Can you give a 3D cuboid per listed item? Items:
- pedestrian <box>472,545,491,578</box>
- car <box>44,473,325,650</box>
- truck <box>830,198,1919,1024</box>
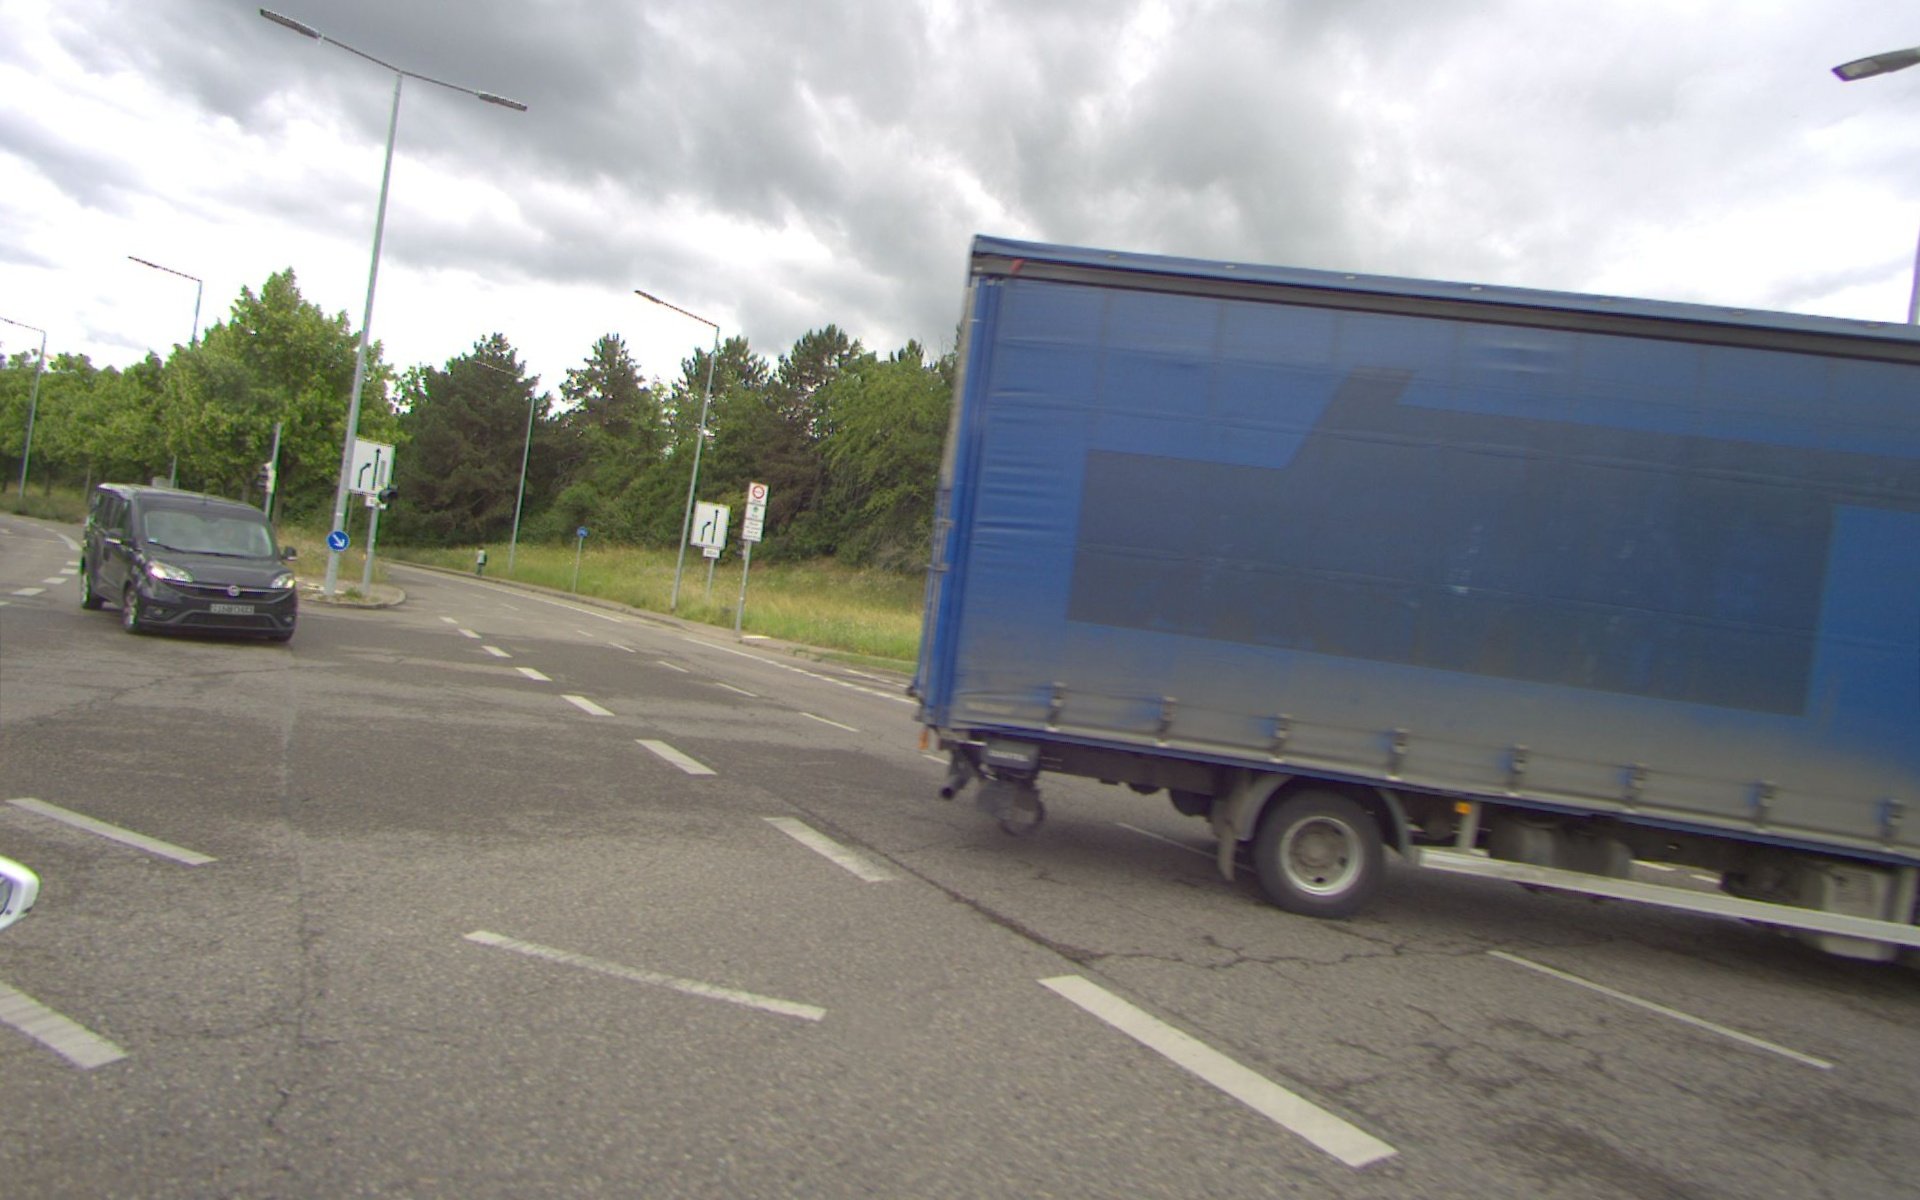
[{"bbox_3d":[-26.858,-2.168,56.438,0.734,1.738,0.619,7,1,-34],"label":"pedestrian"},{"bbox_3d":[-10.804,-0.594,13.873,4.821,1.899,1.992,7,0,40],"label":"car"},{"bbox_3d":[3.684,0.113,6.822,8.229,3.851,2.789,7,0,7],"label":"truck"}]
